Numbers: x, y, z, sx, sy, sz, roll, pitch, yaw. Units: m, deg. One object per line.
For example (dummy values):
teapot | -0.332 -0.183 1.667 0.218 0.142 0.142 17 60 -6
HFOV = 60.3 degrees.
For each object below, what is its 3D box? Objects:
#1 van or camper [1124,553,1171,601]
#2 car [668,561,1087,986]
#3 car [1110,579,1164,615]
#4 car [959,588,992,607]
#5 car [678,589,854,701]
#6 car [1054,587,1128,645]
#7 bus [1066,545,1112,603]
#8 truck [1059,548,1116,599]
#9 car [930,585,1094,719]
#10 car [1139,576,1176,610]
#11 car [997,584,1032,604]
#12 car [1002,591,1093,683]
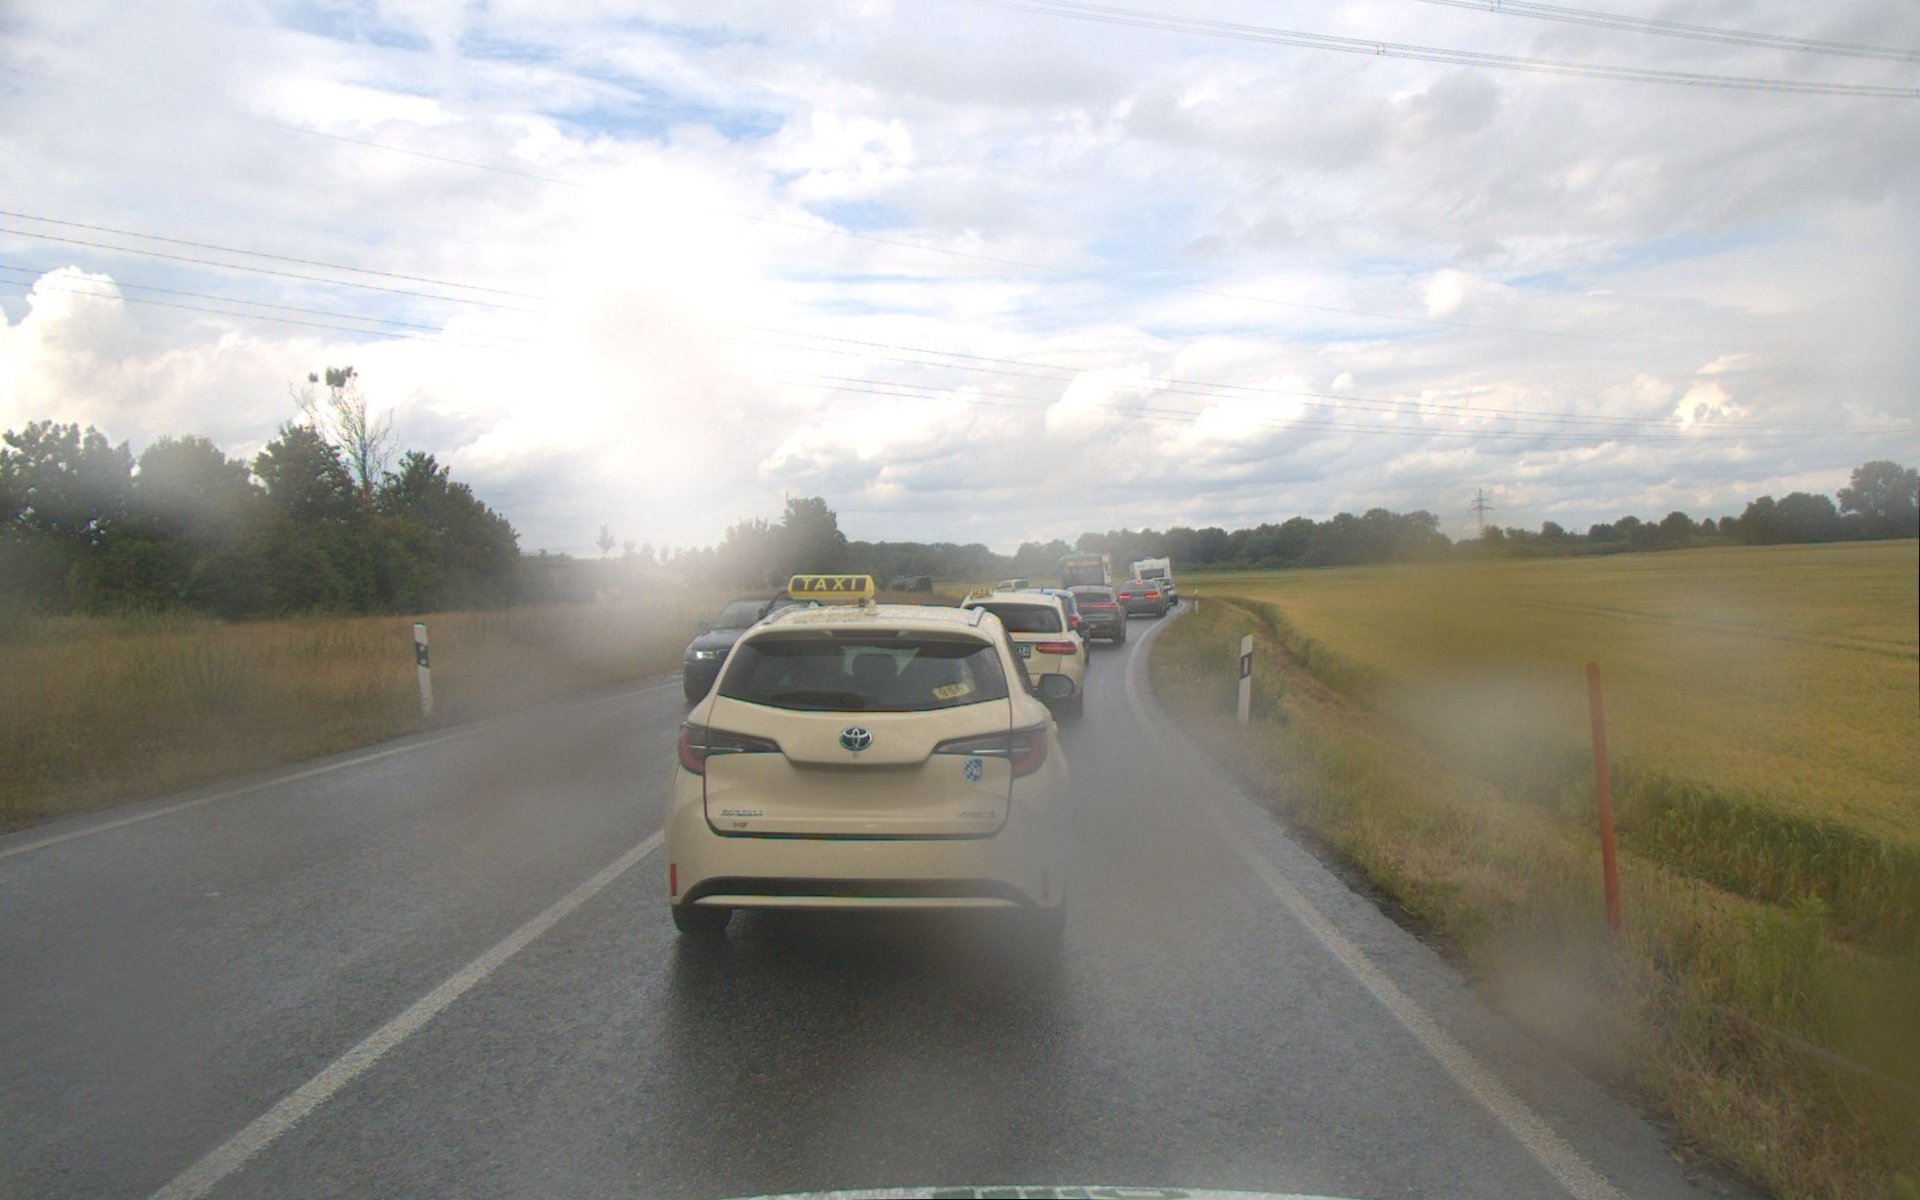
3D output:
van or camper | 11.946 -1.463 105.725 2.484 2.946 6.745 0 1 2
car | -0.238 0.675 8.157 1.579 1.589 3.739 1 -1 2
car | 7.300 -0.102 67.873 1.918 1.438 4.396 1 -1 9
car | 1.584 -0.274 167.433 1.816 1.891 4.058 1 -1 -24
car | -2.628 0.597 23.336 1.595 1.421 4.322 1 -1 5
car | 3.485 0.413 43.453 1.578 1.438 3.741 0 -1 10
bus | 7.988 -1.590 103.314 2.700 3.355 12.508 0 1 4
truck | 10.228 -2.069 133.735 3.068 3.920 7.372 1 -1 -8
car | 0.783 0.579 21.353 1.802 1.518 4.611 1 1 6
car | 10.723 -0.348 89.987 1.918 1.759 3.740 1 -1 6
car | 5.052 -0.560 154.146 1.854 1.804 4.137 1 -1 -19
car | 1.772 0.700 32.615 1.578 1.688 3.741 1 -1 6
